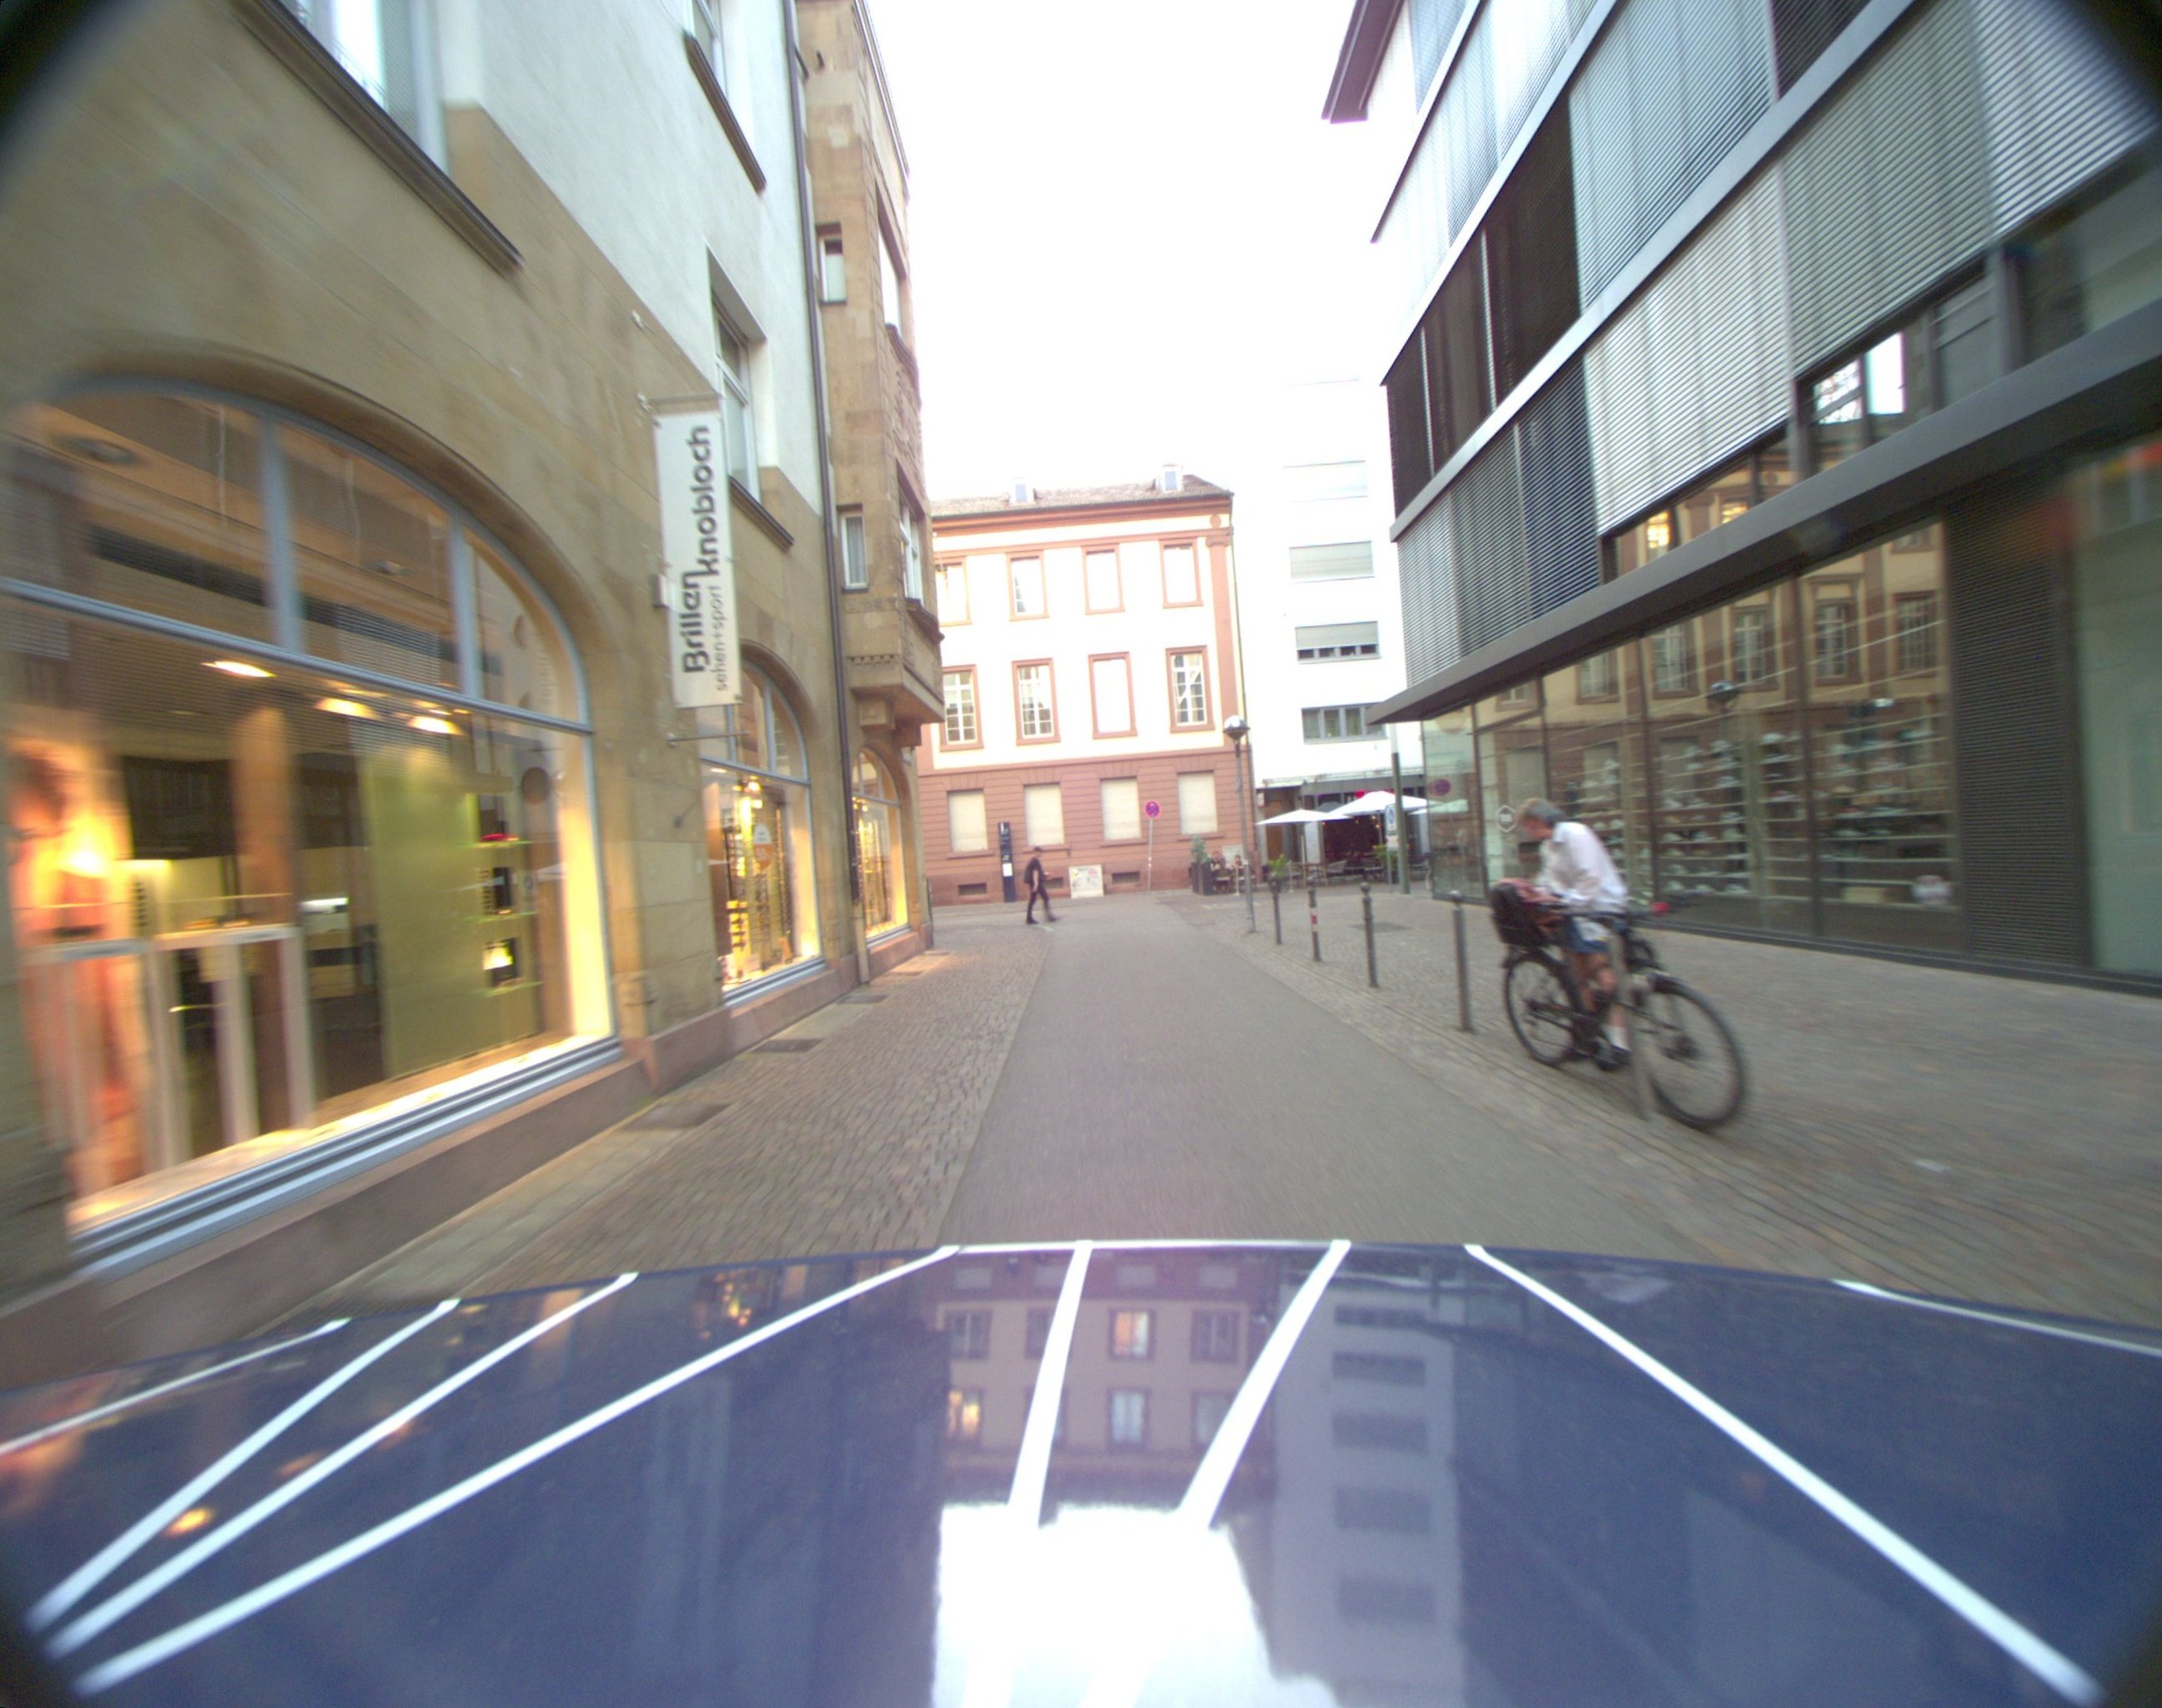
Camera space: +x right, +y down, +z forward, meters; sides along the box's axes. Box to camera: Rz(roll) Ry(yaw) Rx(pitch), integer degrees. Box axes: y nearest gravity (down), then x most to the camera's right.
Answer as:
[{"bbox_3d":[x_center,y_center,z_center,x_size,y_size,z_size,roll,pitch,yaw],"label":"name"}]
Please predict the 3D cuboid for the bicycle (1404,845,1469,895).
[{"bbox_3d":[8.522,0.390,18.297,0.709,1.106,1.674,-4,-1,0],"label":"bicycle"}]

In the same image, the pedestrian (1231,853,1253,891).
[{"bbox_3d":[5.226,0.580,24.710,0.549,1.204,0.524,-4,1,3],"label":"pedestrian"}]

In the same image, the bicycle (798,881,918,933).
[{"bbox_3d":[-6.488,1.538,22.214,3.155,1.252,0.923,-4,0,0],"label":"bicycle"}]

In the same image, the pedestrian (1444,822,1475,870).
[{"bbox_3d":[13.435,-0.274,26.974,0.671,1.655,0.623,-4,0,-27],"label":"pedestrian"}]

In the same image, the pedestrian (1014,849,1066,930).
[{"bbox_3d":[-0.963,0.814,17.638,0.969,1.775,0.739,-4,1,-15],"label":"pedestrian"}]

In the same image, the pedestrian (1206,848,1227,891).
[{"bbox_3d":[4.455,0.503,25.000,0.549,1.341,0.489,-4,1,3],"label":"pedestrian"}]

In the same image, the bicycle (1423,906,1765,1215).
[{"bbox_3d":[2.631,0.953,4.215,0.534,1.147,1.914,-6,0,1],"label":"bicycle"}]

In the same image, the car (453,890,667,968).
[{"bbox_3d":[-12.510,1.781,18.402,3.996,1.434,1.650,-4,1,2],"label":"car"}]

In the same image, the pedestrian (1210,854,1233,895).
[{"bbox_3d":[4.331,0.633,23.484,0.561,1.204,0.461,-4,1,3],"label":"pedestrian"}]

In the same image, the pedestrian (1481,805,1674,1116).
[{"bbox_3d":[3.069,0.601,4.708,0.771,1.708,0.590,-6,1,-30],"label":"pedestrian"}]
